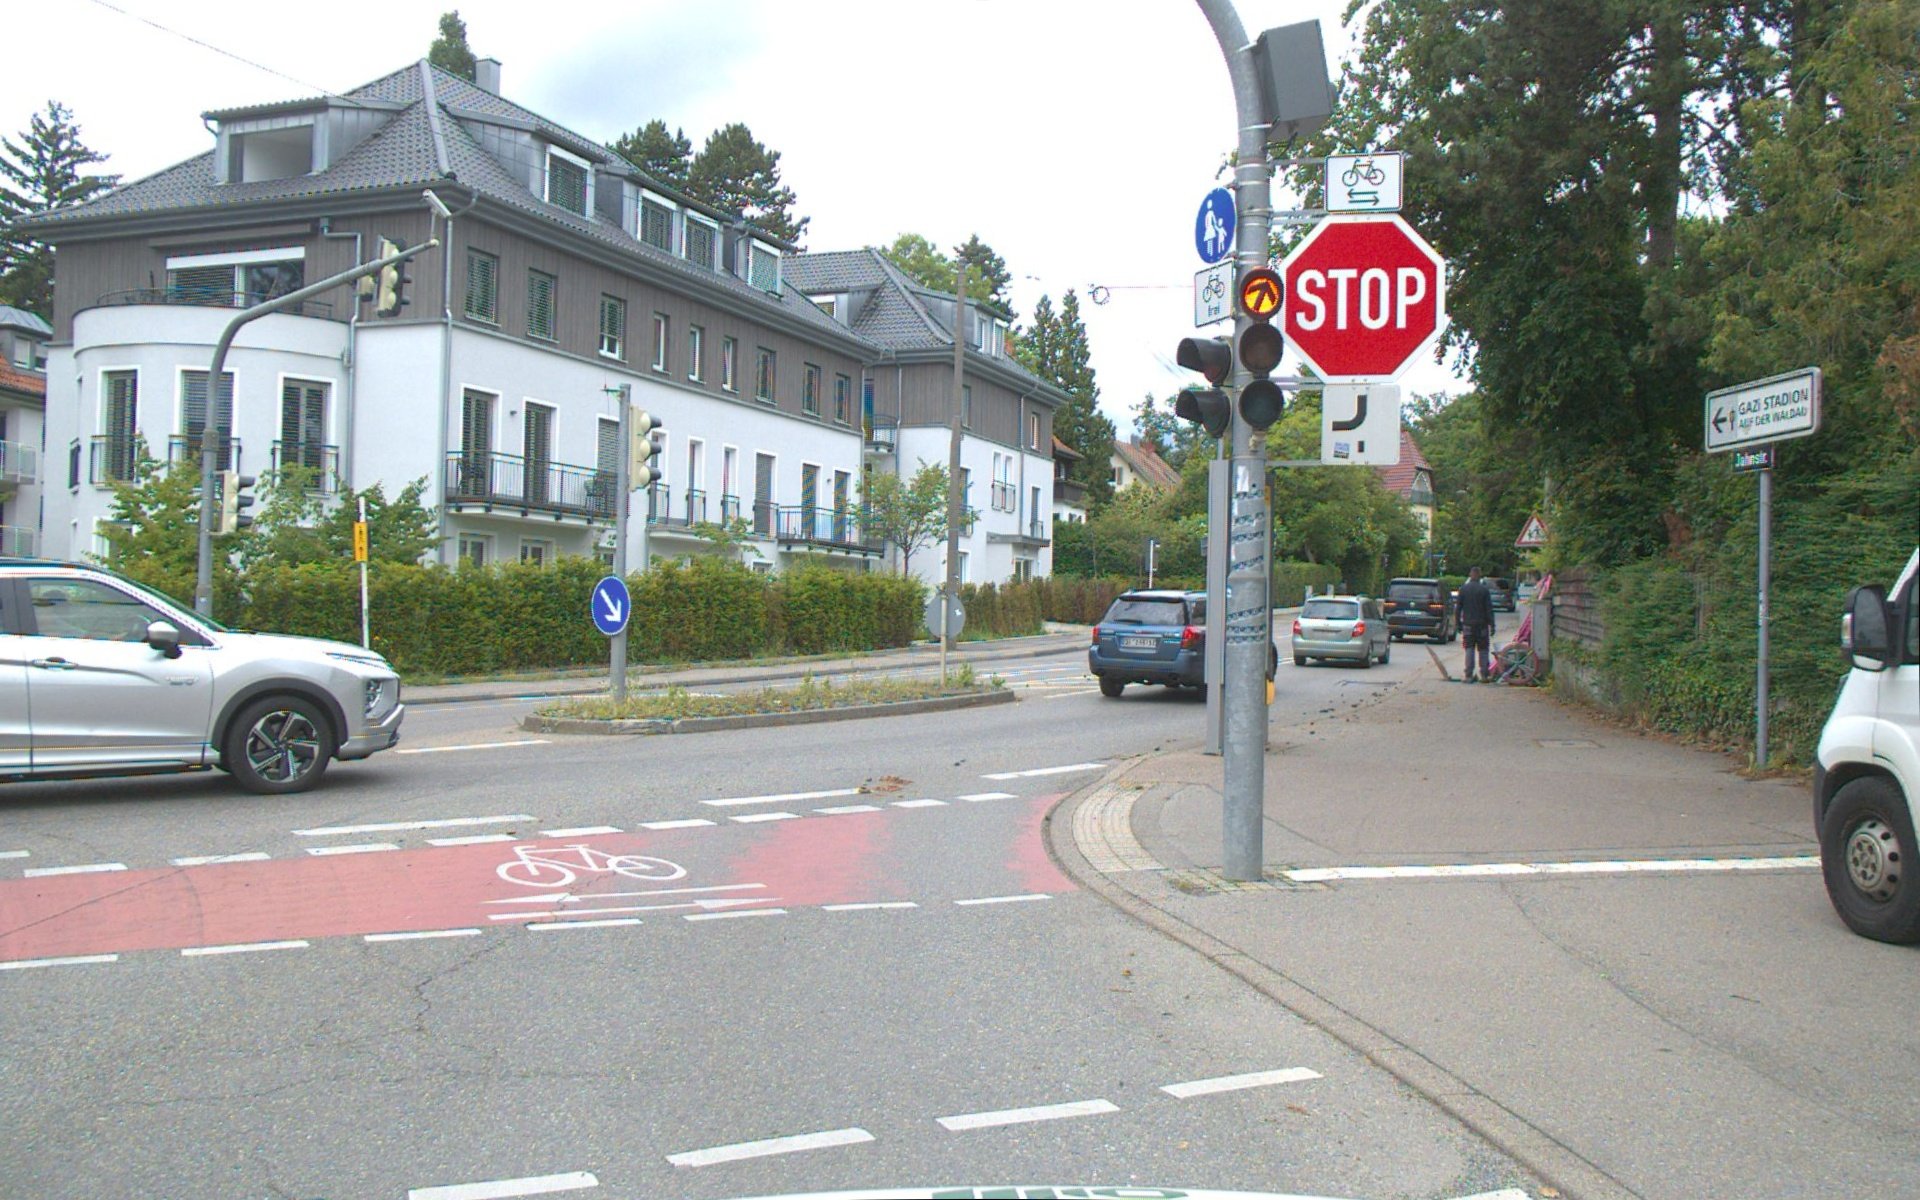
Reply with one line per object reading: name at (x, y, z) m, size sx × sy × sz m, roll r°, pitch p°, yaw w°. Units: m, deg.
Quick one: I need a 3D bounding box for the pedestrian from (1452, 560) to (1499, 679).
pedestrian at (8.540, 0.318, 27.432) m, size 0.584 × 1.940 × 0.558 m, roll 1°, pitch 0°, yaw 0°

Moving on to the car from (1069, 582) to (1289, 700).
car at (3.336, 0.536, 24.318) m, size 1.765 × 1.553 × 4.738 m, roll -1°, pitch 0°, yaw 27°

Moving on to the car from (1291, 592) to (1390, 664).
car at (8.253, 0.574, 35.668) m, size 1.659 × 1.455 × 3.749 m, roll -1°, pitch 0°, yaw 20°

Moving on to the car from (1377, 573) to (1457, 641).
car at (14.065, 0.179, 50.720) m, size 1.879 × 1.927 × 4.909 m, roll 2°, pitch 1°, yaw 20°

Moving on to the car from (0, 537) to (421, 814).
car at (-6.270, 0.484, 11.679) m, size 4.427 × 1.784 × 1.794 m, roll -1°, pitch 0°, yaw -31°

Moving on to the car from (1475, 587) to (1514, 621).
car at (31.579, 0.218, 97.727) m, size 1.899 × 1.857 × 4.078 m, roll 2°, pitch 1°, yaw 21°

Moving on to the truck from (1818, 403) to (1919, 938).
truck at (5.140, 0.316, 5.029) m, size 2.162 × 2.283 × 5.724 m, roll 1°, pitch 0°, yaw 1°

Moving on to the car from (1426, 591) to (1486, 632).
car at (19.450, 0.416, 64.770) m, size 1.804 × 1.485 × 4.077 m, roll 2°, pitch 1°, yaw 22°
